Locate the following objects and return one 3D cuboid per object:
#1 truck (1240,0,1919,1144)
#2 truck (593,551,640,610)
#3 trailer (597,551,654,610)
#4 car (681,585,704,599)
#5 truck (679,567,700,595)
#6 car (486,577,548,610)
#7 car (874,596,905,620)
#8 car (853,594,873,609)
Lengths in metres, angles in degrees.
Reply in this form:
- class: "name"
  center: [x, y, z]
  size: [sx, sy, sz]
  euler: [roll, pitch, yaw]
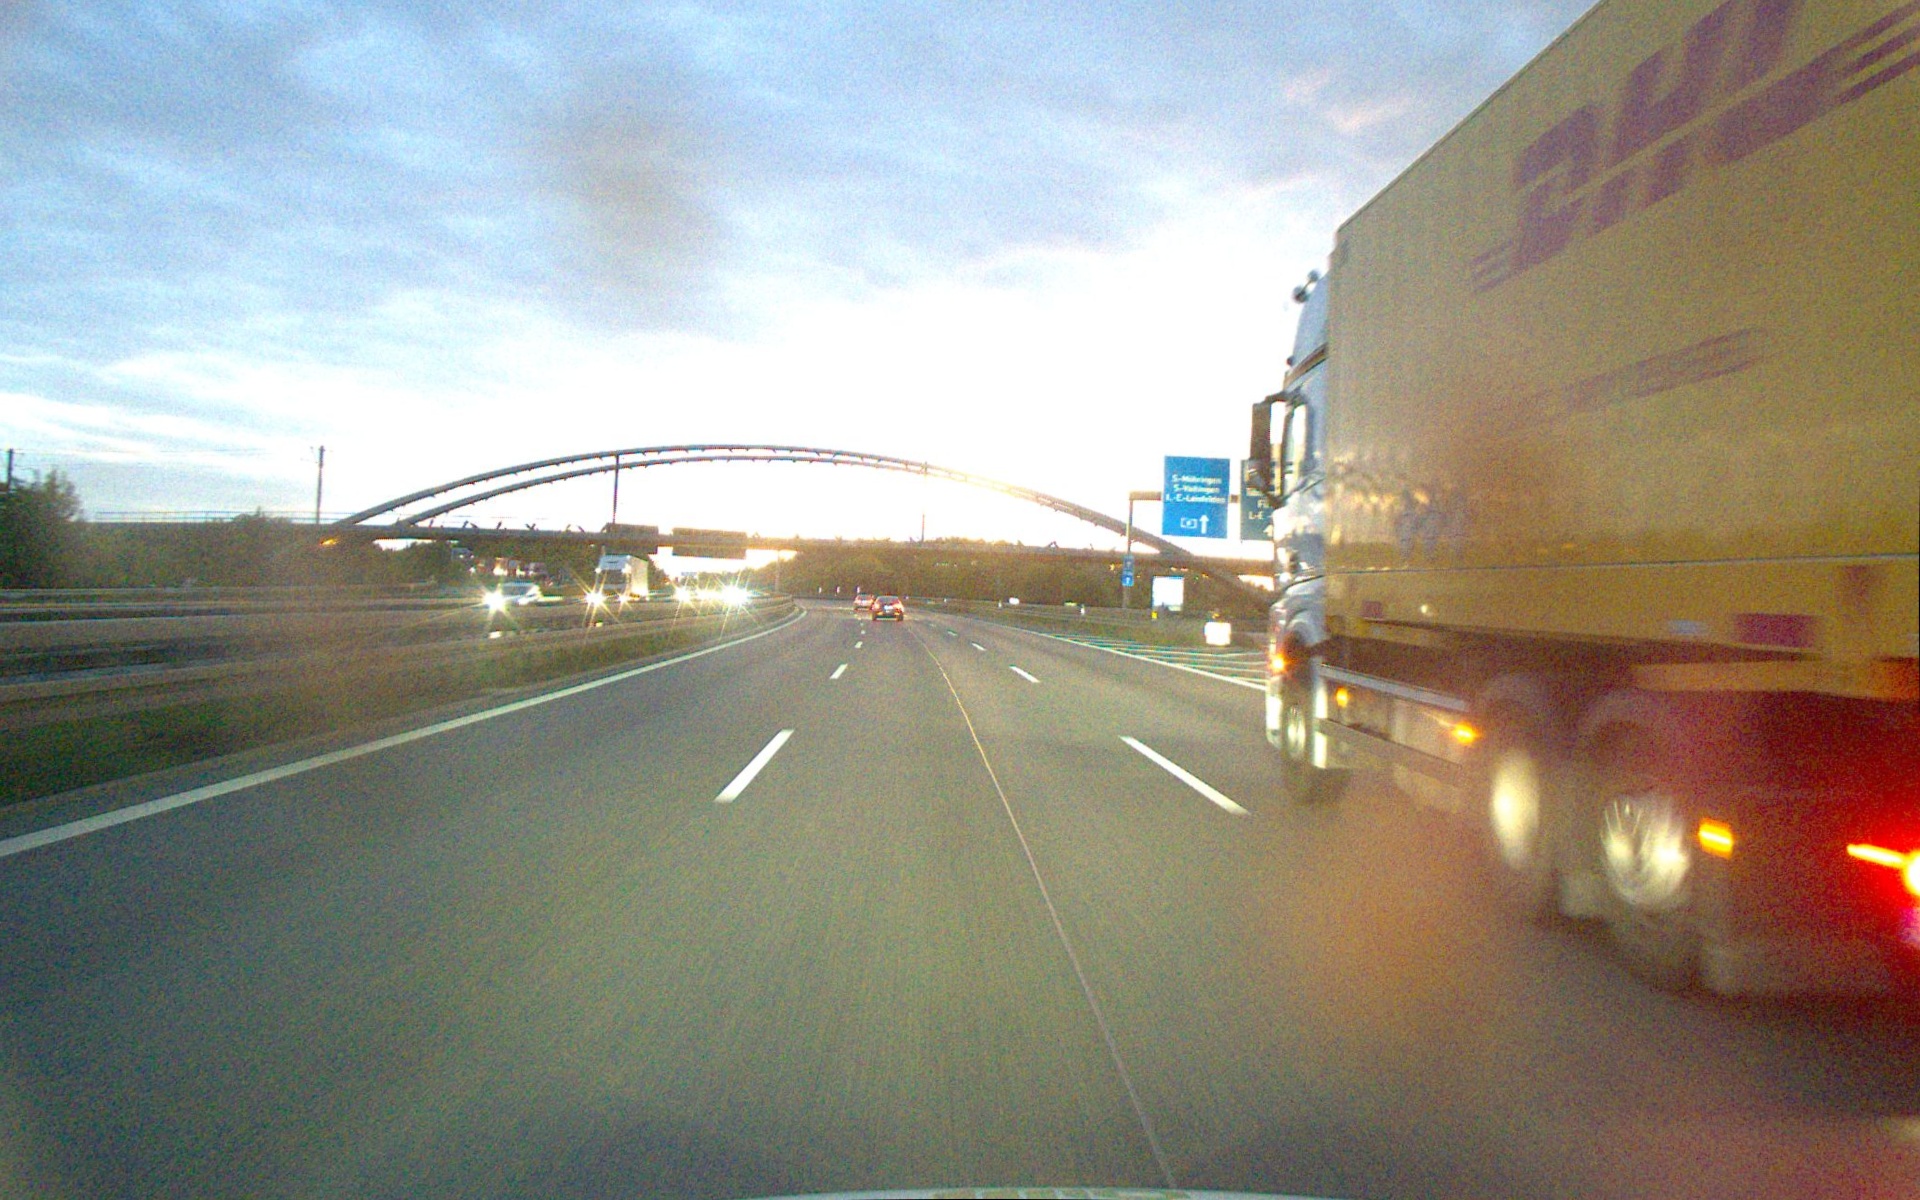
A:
- class: "truck"
  center: [3.891, -0.578, 9.195]
  size: [2.636, 4.142, 10.517]
  euler: [1, 0, -1]
- class: "truck"
  center: [-27.194, -1.510, 131.138]
  size: [2.769, 4.586, 6.239]
  euler: [1, 0, -4]
- class: "trailer"
  center: [-27.710, -1.586, 137.719]
  size: [2.769, 4.586, 14.615]
  euler: [1, 0, -4]
- class: "car"
  center: [-27.584, -0.835, 170.695]
  size: [1.954, 1.428, 4.326]
  euler: [1, 0, -4]
- class: "truck"
  center: [-42.050, -2.906, 257.413]
  size: [2.771, 4.119, 12.195]
  euler: [1, 0, -7]
- class: "car"
  center: [-23.200, -0.335, 86.844]
  size: [1.953, 1.653, 4.843]
  euler: [1, 0, 0]
- class: "car"
  center: [-4.257, 0.495, 99.309]
  size: [1.657, 1.426, 3.404]
  euler: [1, -1, -6]
- class: "car"
  center: [-9.309, 0.155, 159.187]
  size: [1.654, 1.426, 3.409]
  euler: [0, -2, 2]
